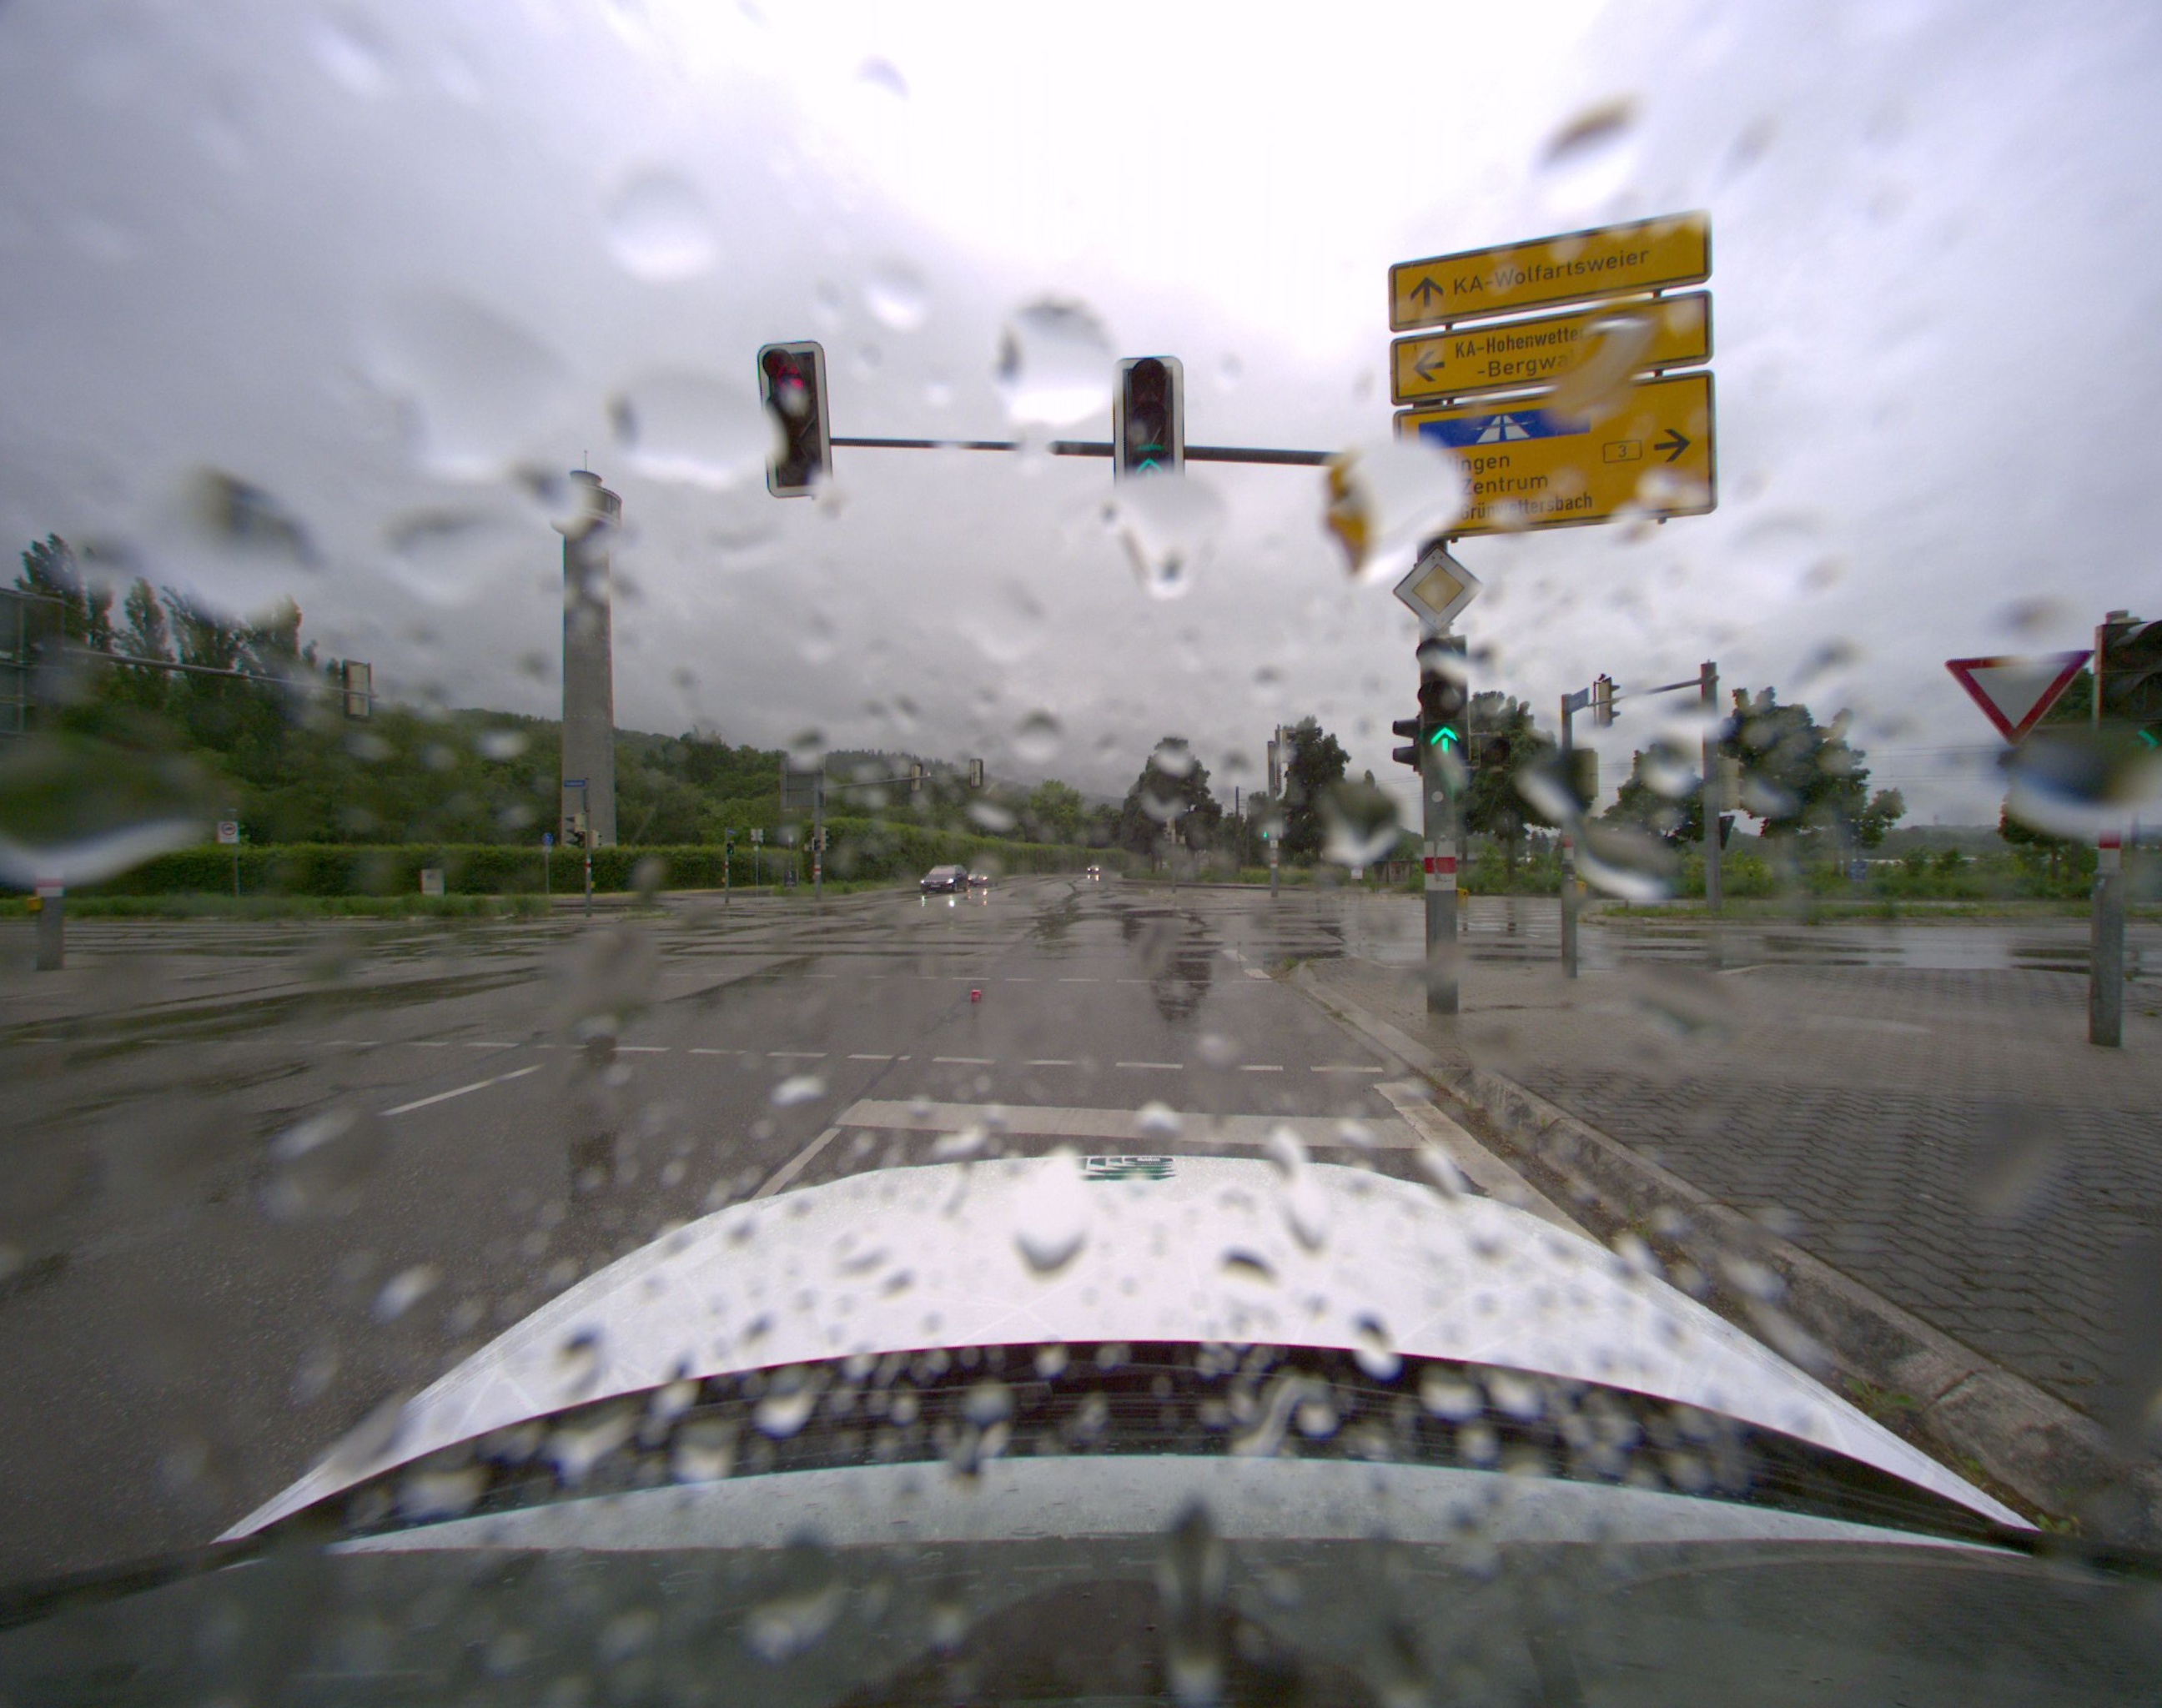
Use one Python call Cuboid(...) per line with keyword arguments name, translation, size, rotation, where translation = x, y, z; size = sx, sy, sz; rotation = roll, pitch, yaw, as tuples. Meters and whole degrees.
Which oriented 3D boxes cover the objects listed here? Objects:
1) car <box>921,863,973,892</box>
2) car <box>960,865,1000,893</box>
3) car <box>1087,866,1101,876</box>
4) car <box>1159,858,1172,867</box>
Cuboid(name="car", translation=(-7.144, 1.230, 43.808), size=(1.701, 1.466, 4.457), rotation=(-1, 0, 4))
Cuboid(name="car", translation=(-6.662, 1.637, 54.084), size=(2.029, 1.708, 4.067), rotation=(-1, 0, 2))
Cuboid(name="car", translation=(2.072, 2.692, 130.947), size=(1.774, 1.504, 4.071), rotation=(0, 1, 8))
Cuboid(name="car", translation=(17.605, 1.742, 169.393), size=(1.939, 1.904, 4.137), rotation=(-1, 0, 15))
